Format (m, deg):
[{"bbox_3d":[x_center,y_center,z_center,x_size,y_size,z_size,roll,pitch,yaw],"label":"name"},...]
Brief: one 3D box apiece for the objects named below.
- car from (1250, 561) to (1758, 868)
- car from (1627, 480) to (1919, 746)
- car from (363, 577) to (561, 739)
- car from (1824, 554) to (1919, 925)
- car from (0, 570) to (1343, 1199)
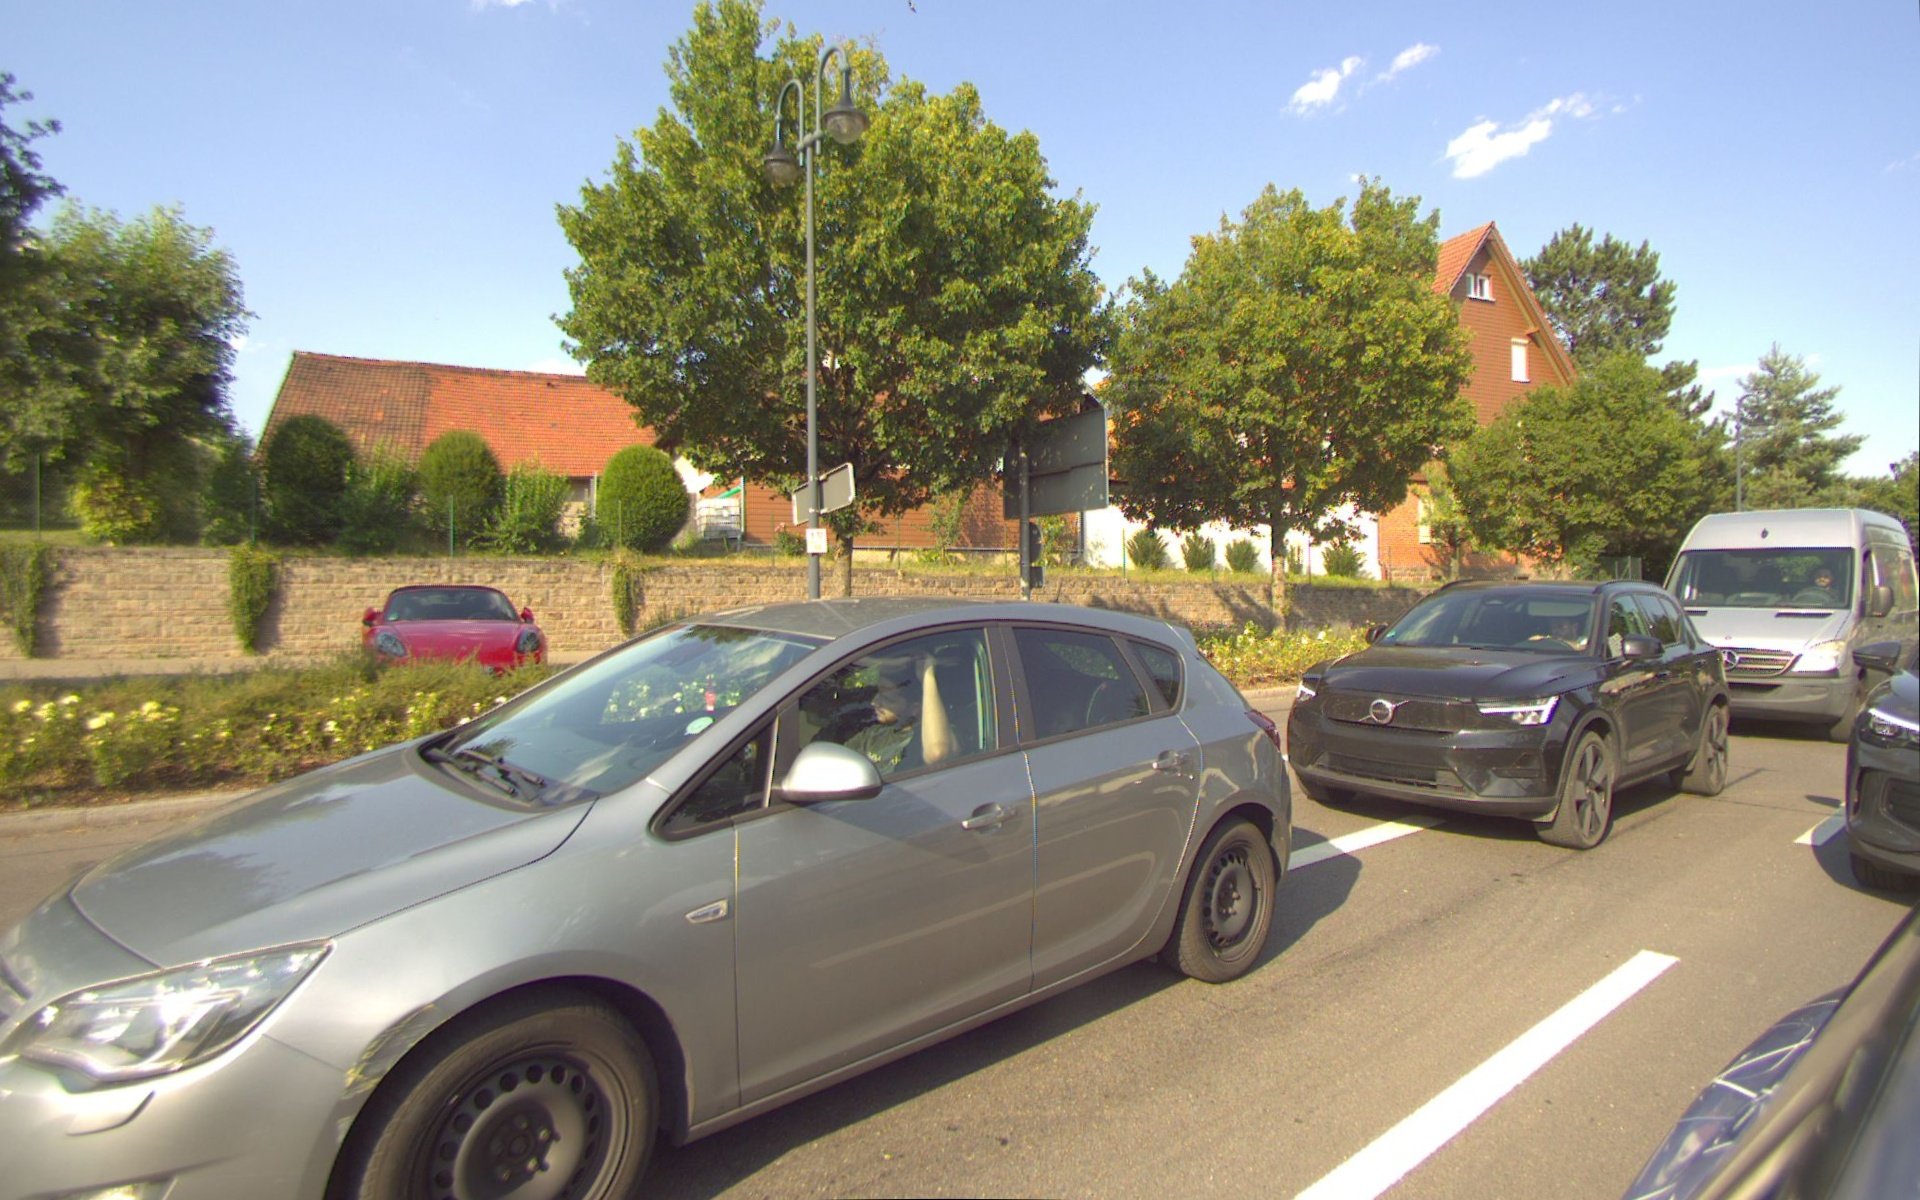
[{"bbox_3d":[4.165,0.573,7.447,4.242,1.629,1.844,0,2,-40],"label":"car"},{"bbox_3d":[10.468,0.091,12.589,5.938,2.601,1.992,0,1,-40],"label":"car"},{"bbox_3d":[-5.892,0.533,11.709,1.743,1.510,4.156,0,0,-31],"label":"car"},{"bbox_3d":[6.218,0.624,5.333,4.242,1.629,1.844,0,2,-40],"label":"car"},{"bbox_3d":[-0.554,0.672,3.517,4.244,1.471,1.765,0,2,-42],"label":"car"}]
